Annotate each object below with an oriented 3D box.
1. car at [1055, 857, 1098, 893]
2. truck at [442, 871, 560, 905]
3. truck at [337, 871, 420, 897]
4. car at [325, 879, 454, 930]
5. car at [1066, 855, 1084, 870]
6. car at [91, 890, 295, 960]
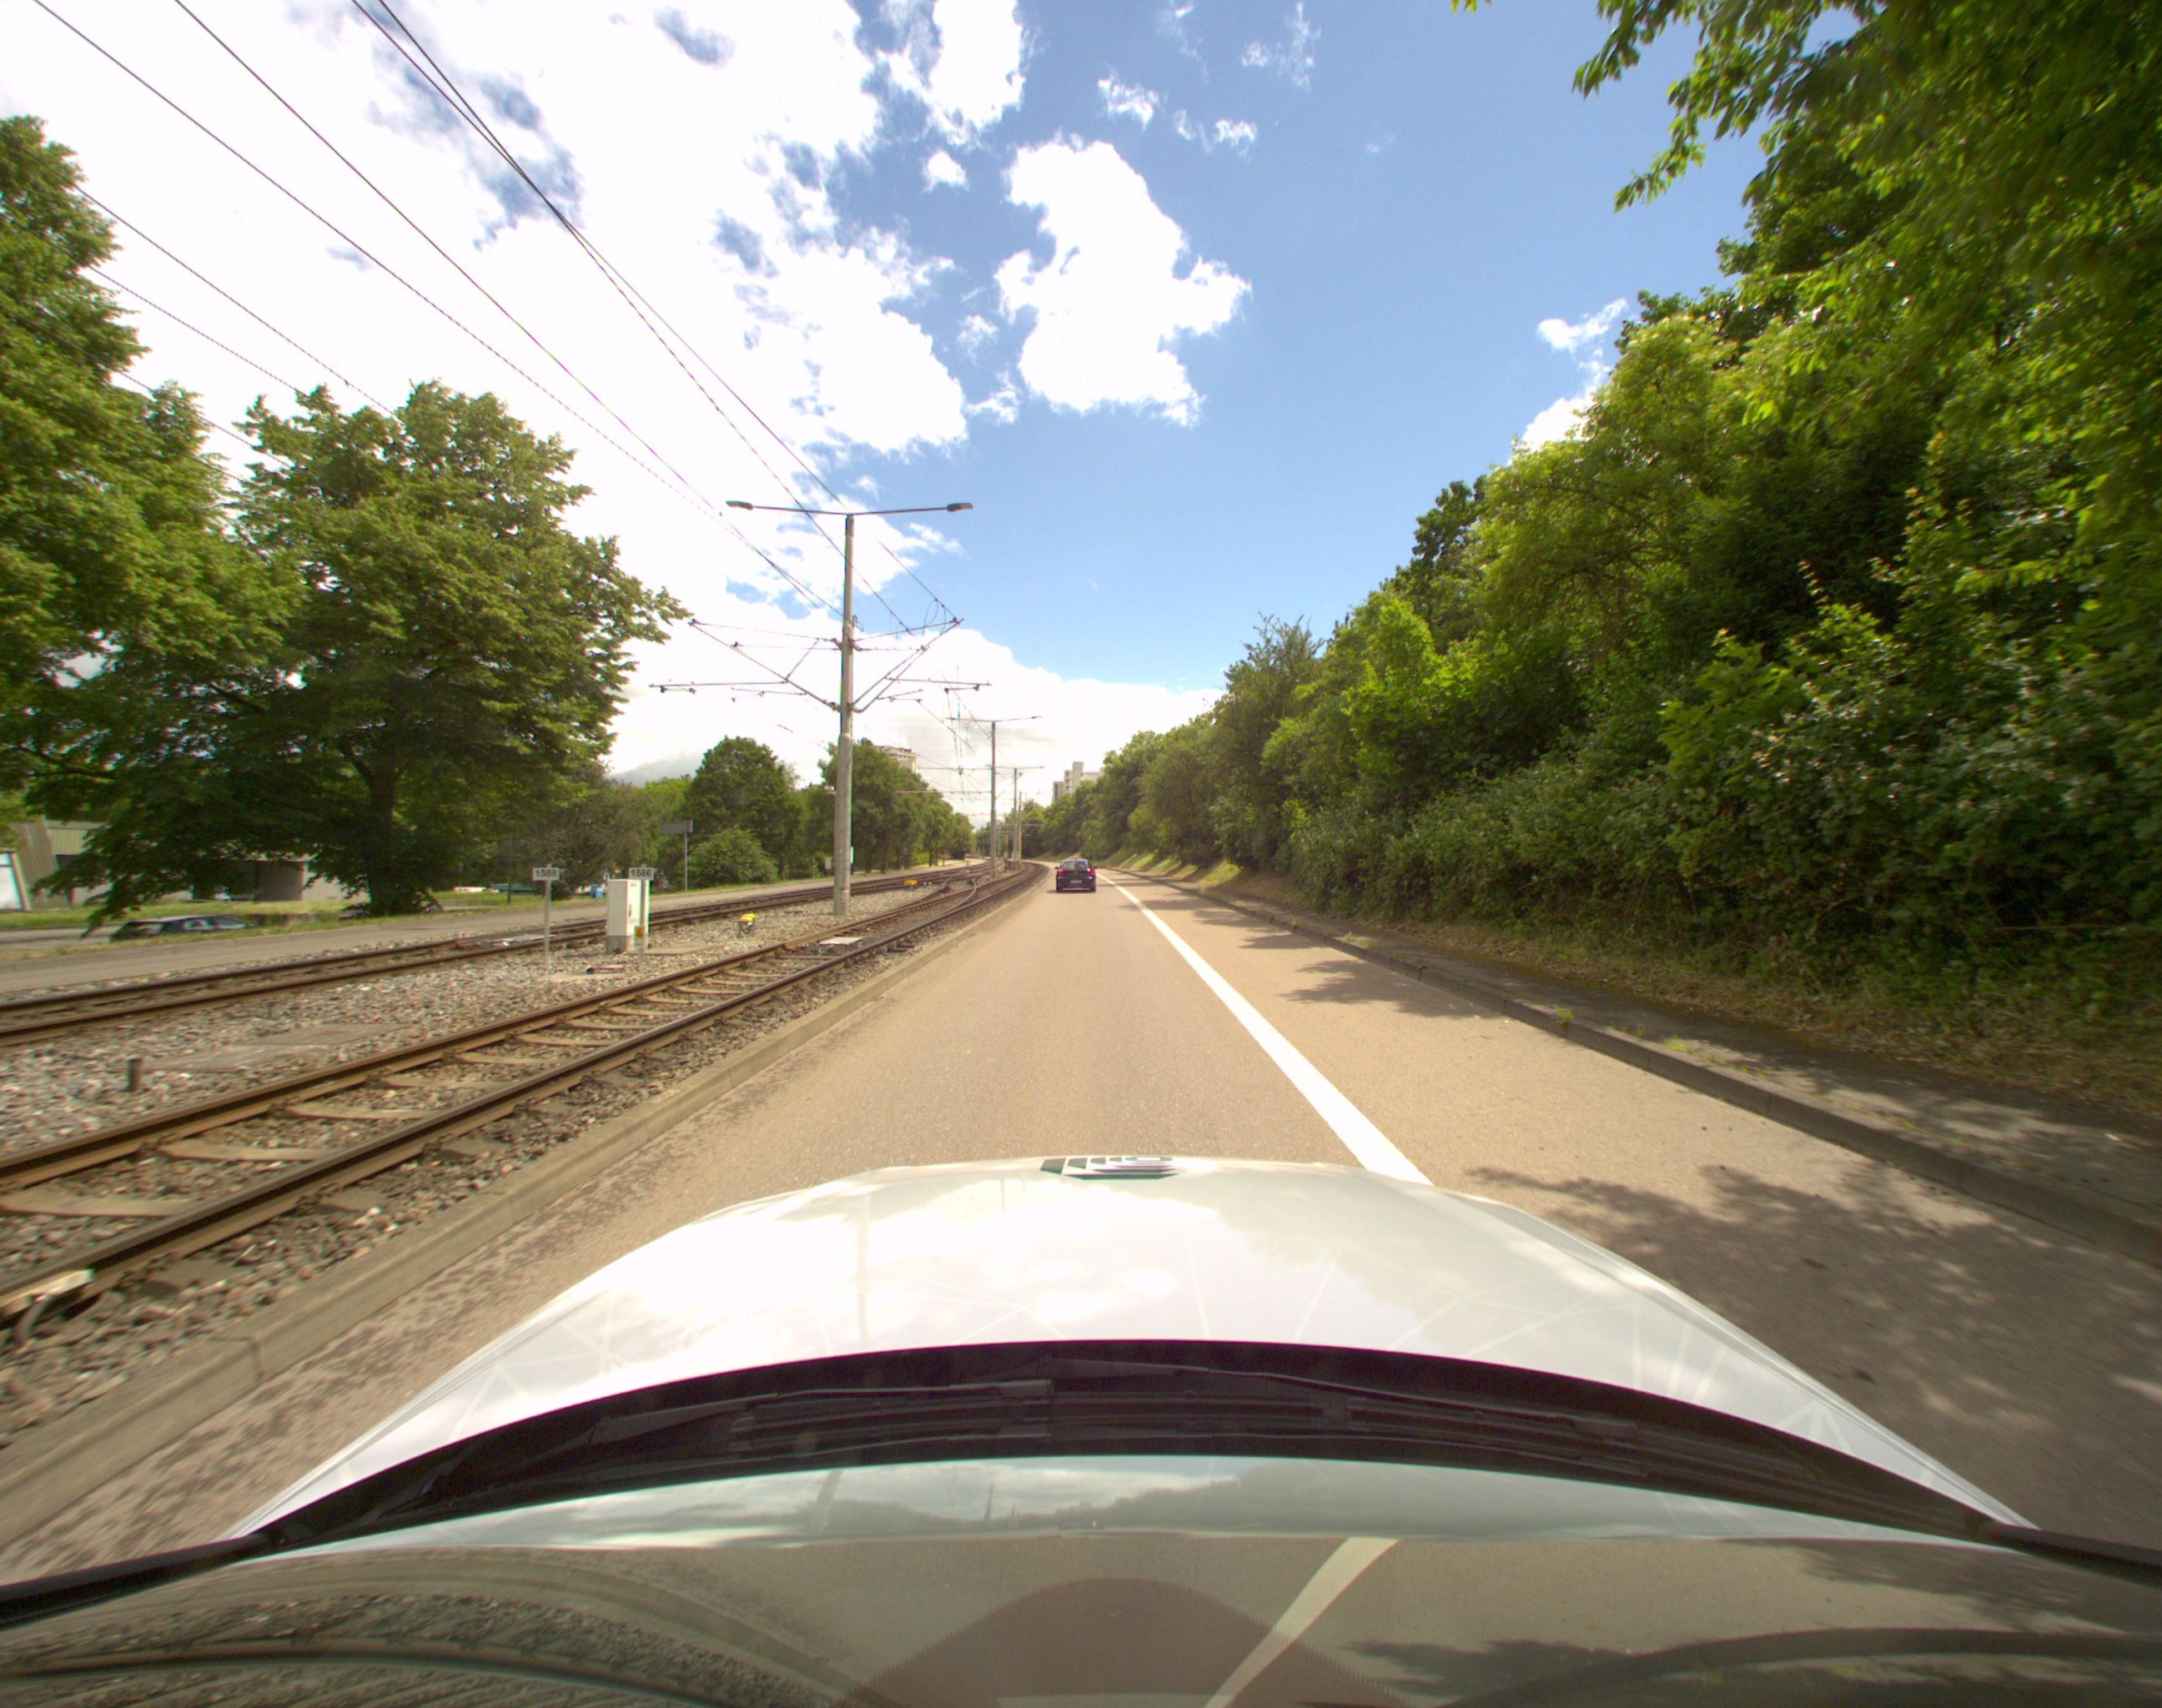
[{"bbox_3d":[-0.145,0.892,35.951,1.702,1.460,3.961,2,-1,2],"label":"car"},{"bbox_3d":[-54.593,3.183,76.823,9.062,2.695,2.614,-2,0,-1],"label":"truck"},{"bbox_3d":[-66.205,2.842,76.814,5.815,2.178,1.998,-2,0,-3],"label":"truck"},{"bbox_3d":[-27.742,1.971,32.860,1.811,1.772,3.998,-1,0,-1],"label":"car"},{"bbox_3d":[-0.597,0.829,80.056,1.620,1.443,3.419,1,0,-2],"label":"car"},{"bbox_3d":[-27.318,2.117,25.285,1.809,1.772,4.003,-1,0,2],"label":"car"}]
